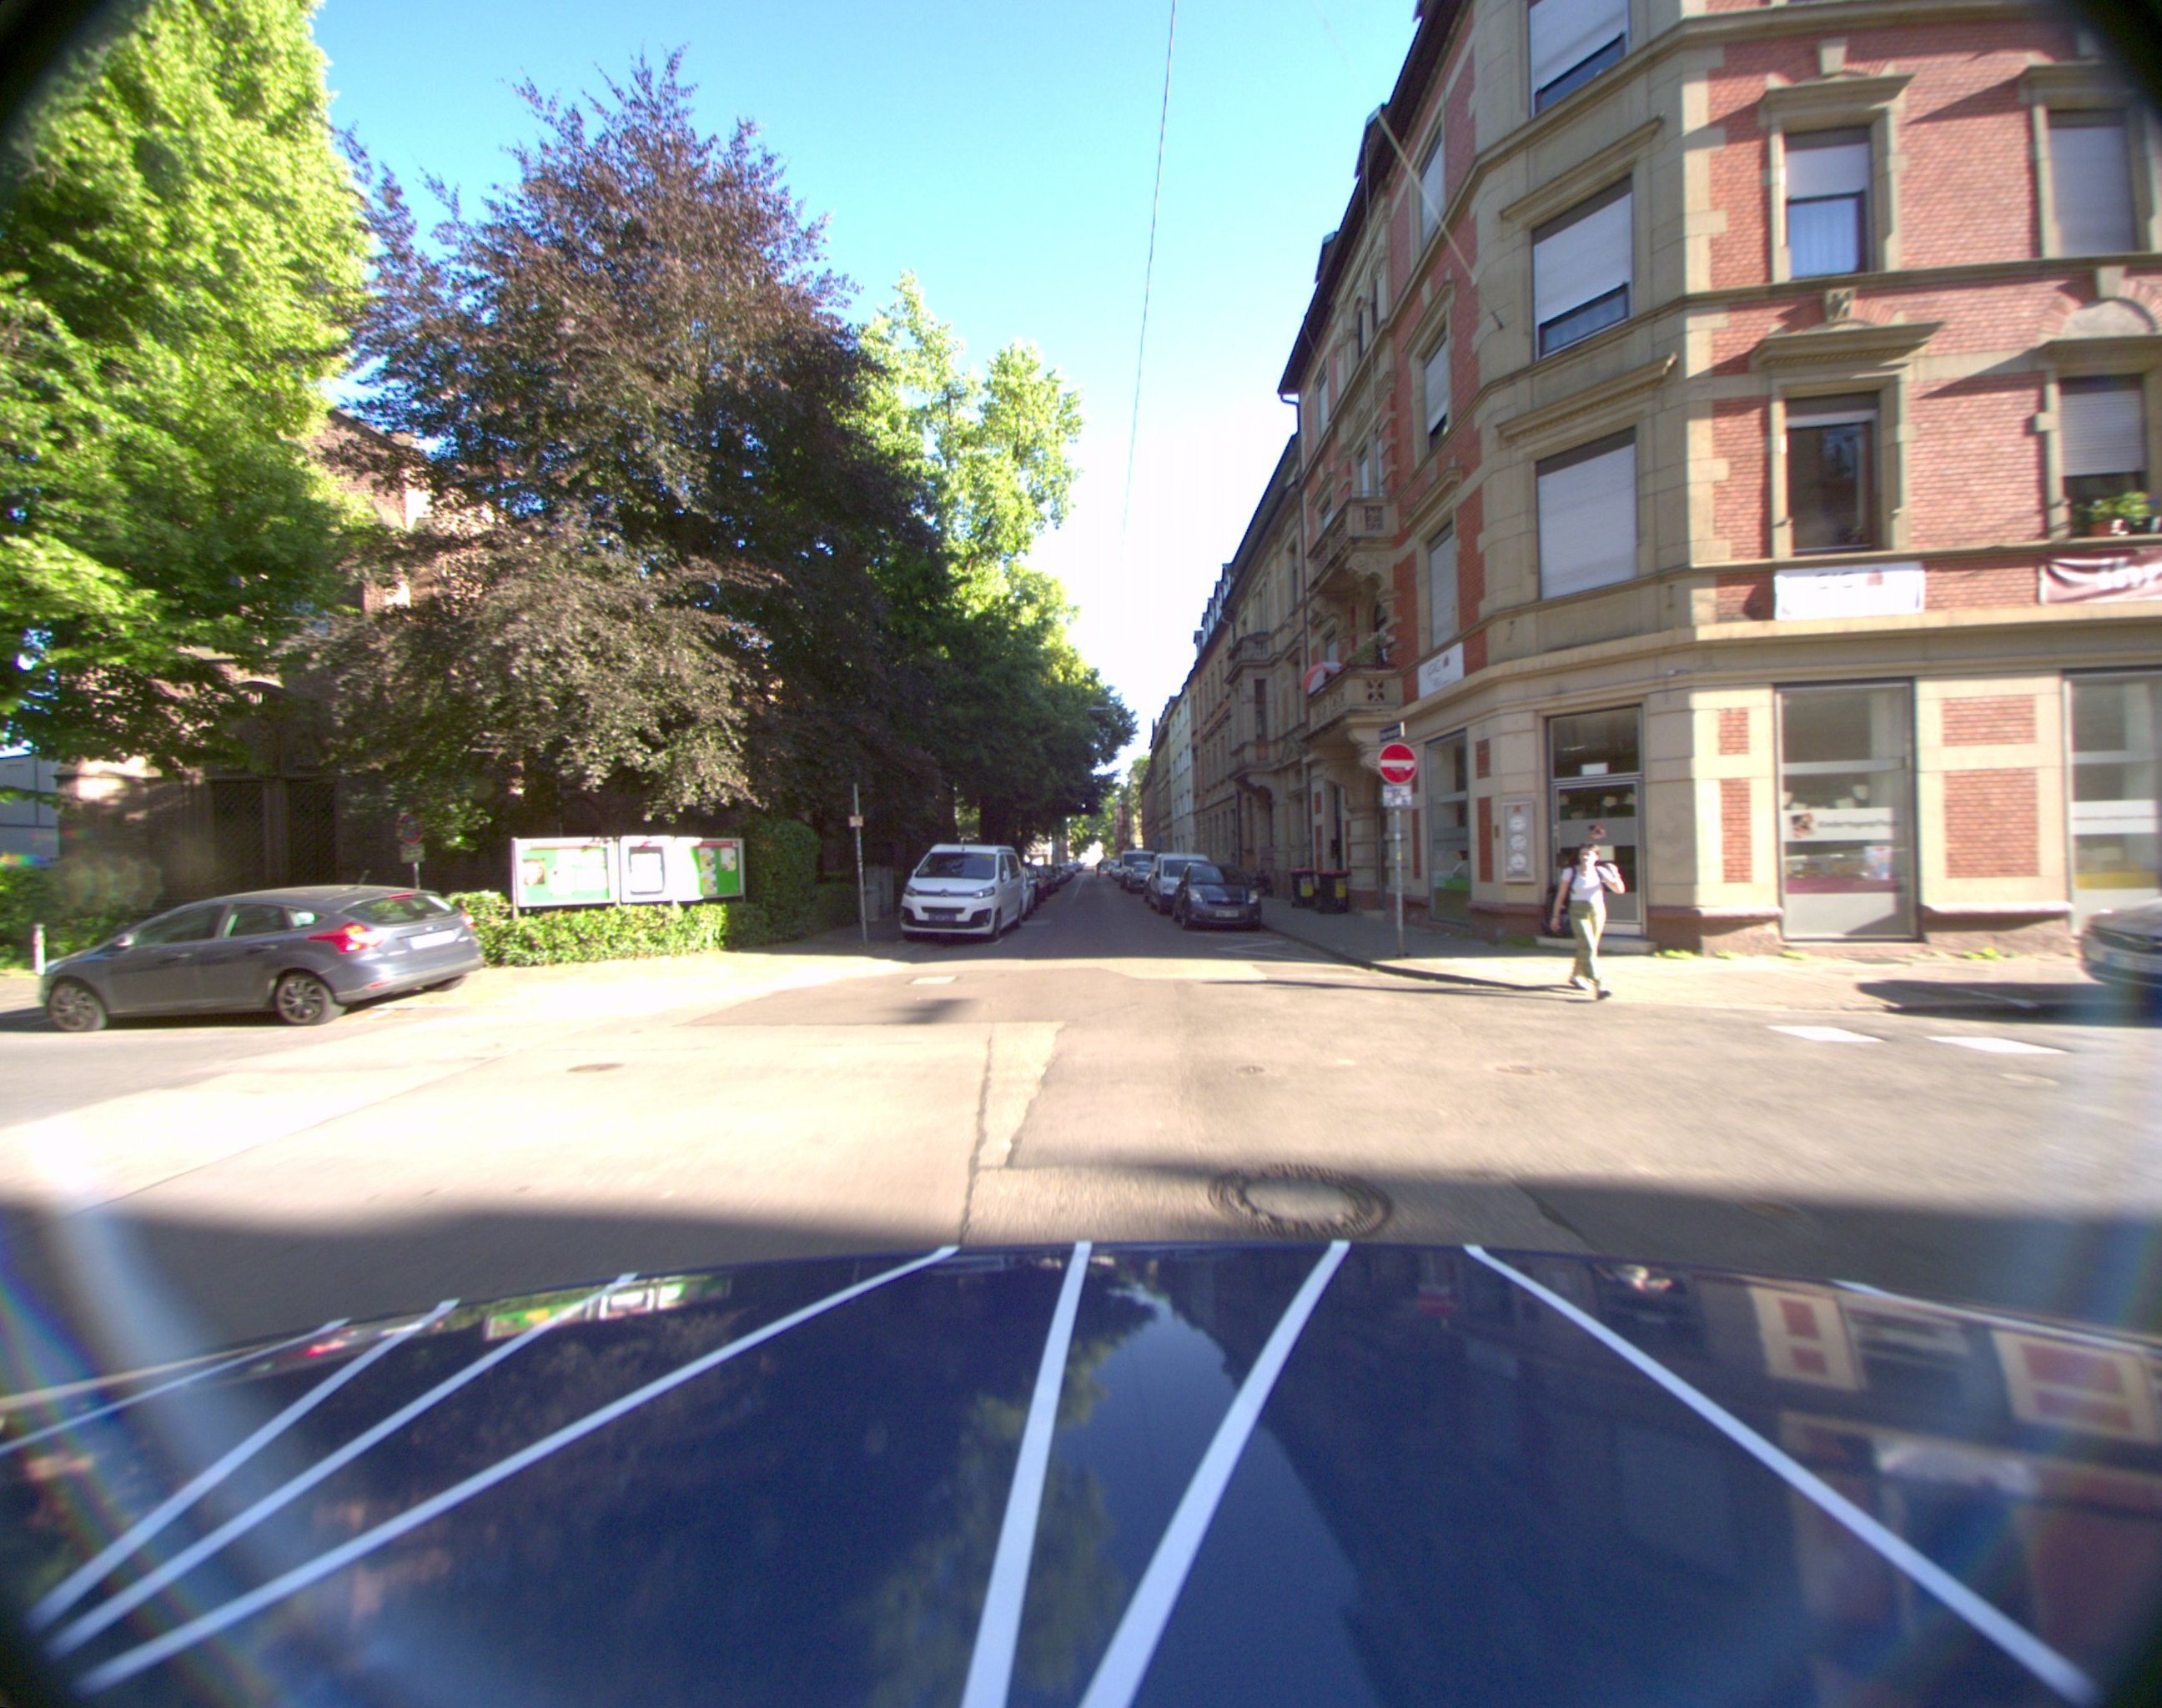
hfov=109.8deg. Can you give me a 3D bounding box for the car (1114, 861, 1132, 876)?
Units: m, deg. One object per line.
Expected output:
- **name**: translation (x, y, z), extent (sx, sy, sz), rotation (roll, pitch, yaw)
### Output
- **car**: translation (4.156, 1.422, 75.804), extent (1.713, 1.408, 3.803), rotation (1, 0, 2)

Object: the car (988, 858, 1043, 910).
- **car**: translation (-2.305, 1.018, 27.646), extent (1.744, 1.594, 4.262), rotation (4, 1, -3)

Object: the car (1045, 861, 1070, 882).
- **car**: translation (-1.727, 1.277, 57.481), extent (1.603, 1.462, 3.869), rotation (1, 0, 2)

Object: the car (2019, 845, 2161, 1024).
- **car**: translation (11.726, 0.696, 6.596), extent (4.436, 1.522, 1.867), rotation (-1, 3, 7)

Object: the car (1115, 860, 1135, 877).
- **car**: translation (4.070, 1.348, 71.121), extent (1.713, 1.408, 3.803), rotation (1, 0, 2)

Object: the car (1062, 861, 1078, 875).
- **car**: translation (-1.167, 1.469, 82.833), extent (1.625, 1.428, 4.002), rotation (0, 0, 0)

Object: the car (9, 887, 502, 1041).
- **car**: translation (-9.528, 1.226, 9.017), extent (3.928, 1.431, 1.798), rotation (-2, 2, 3)

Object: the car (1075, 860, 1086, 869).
- **car**: translation (-0.042, 2.073, 148.896), extent (1.998, 1.659, 4.001), rotation (-1, 0, 3)

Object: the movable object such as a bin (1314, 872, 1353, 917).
- **movable object such as a bin**: translation (6.131, 0.973, 18.466), extent (0.639, 1.035, 0.856), rotation (-3, 0, 1)

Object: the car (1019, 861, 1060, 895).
- **car**: translation (-2.055, 1.154, 38.490), extent (1.622, 1.478, 3.777), rotation (4, 1, 3)

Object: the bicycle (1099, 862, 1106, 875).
- **bicycle**: translation (2.092, 1.395, 73.183), extent (0.571, 1.236, 1.845), rotation (-4, 0, 4)

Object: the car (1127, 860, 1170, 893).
- **car**: translation (3.299, 1.058, 37.779), extent (1.771, 1.505, 4.193), rotation (1, 0, 0)

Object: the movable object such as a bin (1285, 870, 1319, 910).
- **movable object such as a bin**: translation (6.027, 0.979, 20.746), extent (0.639, 1.035, 0.856), rotation (-3, 0, 1)

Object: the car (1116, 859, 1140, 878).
- **car**: translation (3.720, 1.155, 60.863), extent (1.735, 1.447, 4.522), rotation (1, 0, 1)

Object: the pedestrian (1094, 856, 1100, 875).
- **pedestrian**: translation (1.551, 1.147, 73.213), extent (0.489, 1.792, 1.115), rotation (-3, 0, 4)

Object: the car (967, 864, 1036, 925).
- **car**: translation (-2.256, 1.119, 22.384), extent (1.723, 1.561, 3.827), rotation (-1, 0, -2)

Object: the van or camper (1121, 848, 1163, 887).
- **van or camper**: translation (3.457, 0.748, 44.081), extent (2.182, 2.135, 5.155), rotation (1, 0, 3)

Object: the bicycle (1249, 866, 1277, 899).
- **bicycle**: translation (6.258, 0.972, 26.236), extent (0.572, 1.035, 1.546), rotation (-3, 0, 1)

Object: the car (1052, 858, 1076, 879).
- **car**: translation (-1.475, 1.219, 65.972), extent (1.668, 1.577, 4.101), rotation (4, 1, 3)

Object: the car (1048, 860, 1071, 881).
- **car**: translation (-1.714, 1.316, 61.591), extent (1.603, 1.496, 3.720), rotation (4, 1, 2)

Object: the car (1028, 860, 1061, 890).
- **car**: translation (-2.064, 1.152, 42.865), extent (1.680, 1.433, 4.693), rotation (4, 0, -3)

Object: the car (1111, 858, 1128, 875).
- **car**: translation (4.159, 1.346, 81.951), extent (1.713, 1.664, 4.278), rotation (1, 0, 2)

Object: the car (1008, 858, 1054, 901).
- **car**: translation (-2.128, 1.075, 33.243), extent (1.623, 1.615, 3.863), rotation (4, 1, 0)

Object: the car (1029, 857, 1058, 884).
- **car**: translation (-2.368, 1.043, 48.471), extent (1.603, 1.496, 3.627), rotation (4, 1, 0)

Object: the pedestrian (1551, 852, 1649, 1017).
- **pedestrian**: translation (5.449, 0.813, 8.019), extent (0.549, 1.635, 0.717), rotation (-2, 2, 1)

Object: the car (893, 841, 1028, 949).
- **car**: translation (-2.424, 0.774, 16.625), extent (1.918, 1.986, 4.793), rotation (1, 0, 3)

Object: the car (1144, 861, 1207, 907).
- **car**: translation (3.394, 1.045, 28.041), extent (1.697, 1.505, 3.972), rotation (1, 0, -2)

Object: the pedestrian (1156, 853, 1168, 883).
- **pedestrian**: translation (5.067, 0.857, 47.478), extent (0.580, 1.872, 0.904), rotation (-2, 1, 1)

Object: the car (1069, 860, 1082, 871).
- **car**: translation (-0.789, 1.768, 117.281), extent (1.845, 1.643, 4.000), rotation (0, 0, 1)

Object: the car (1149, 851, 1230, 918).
- **car**: translation (3.174, 0.859, 23.121), extent (1.835, 1.801, 4.572), rotation (1, 0, 1)

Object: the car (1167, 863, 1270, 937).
- **car**: translation (3.086, 0.984, 17.817), extent (1.697, 1.472, 3.973), rotation (1, 0, 0)
